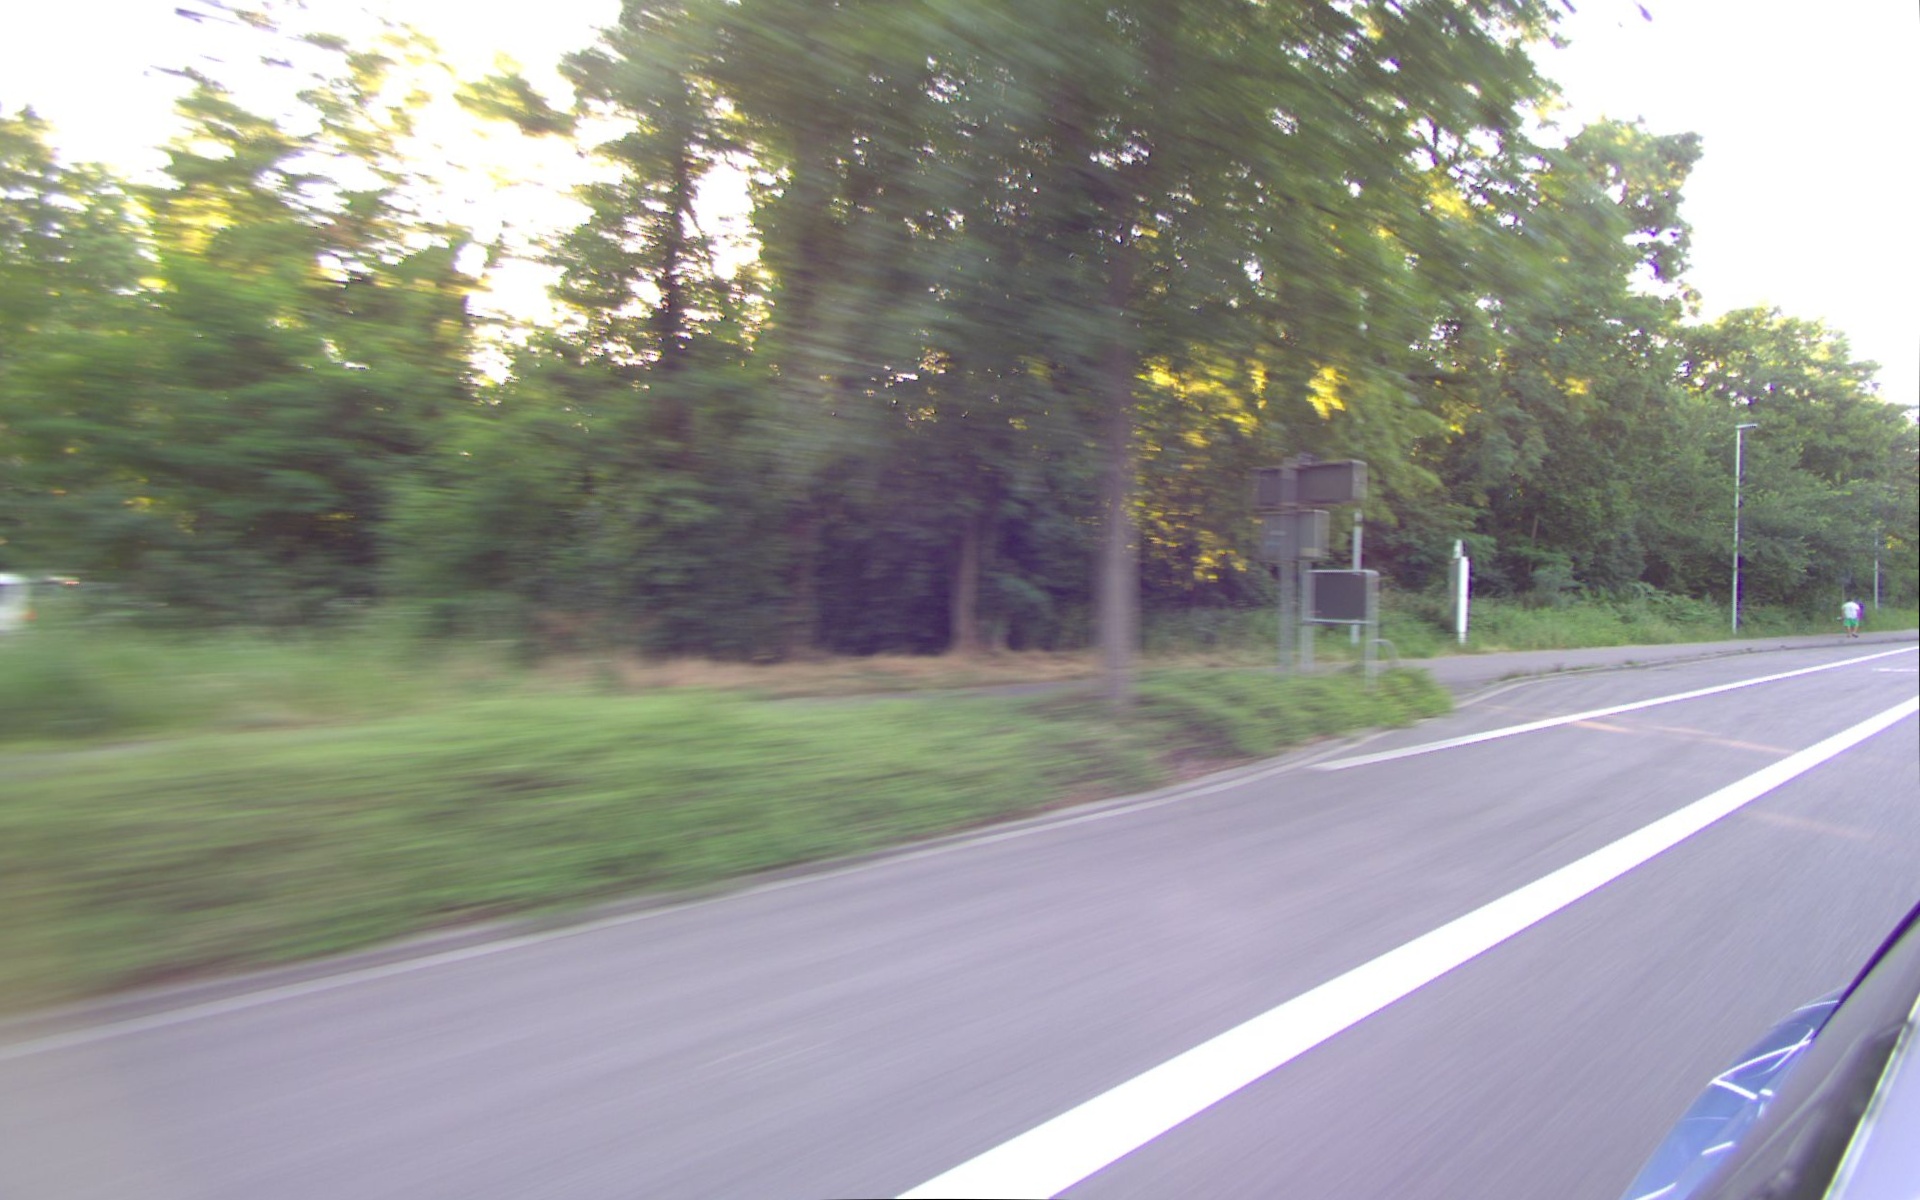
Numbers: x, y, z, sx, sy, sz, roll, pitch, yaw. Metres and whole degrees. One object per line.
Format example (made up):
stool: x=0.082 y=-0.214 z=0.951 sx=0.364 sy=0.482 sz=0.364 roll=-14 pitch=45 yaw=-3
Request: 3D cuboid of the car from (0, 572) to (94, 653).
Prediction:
car: x=-18.380 y=0.197 z=18.273 sx=3.916 sy=1.414 sz=1.544 roll=1 pitch=1 yaw=-11

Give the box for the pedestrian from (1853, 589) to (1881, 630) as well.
pedestrian: x=40.131 y=0.408 z=44.789 sx=0.713 sy=1.774 sz=0.840 roll=1 pitch=0 yaw=-40
